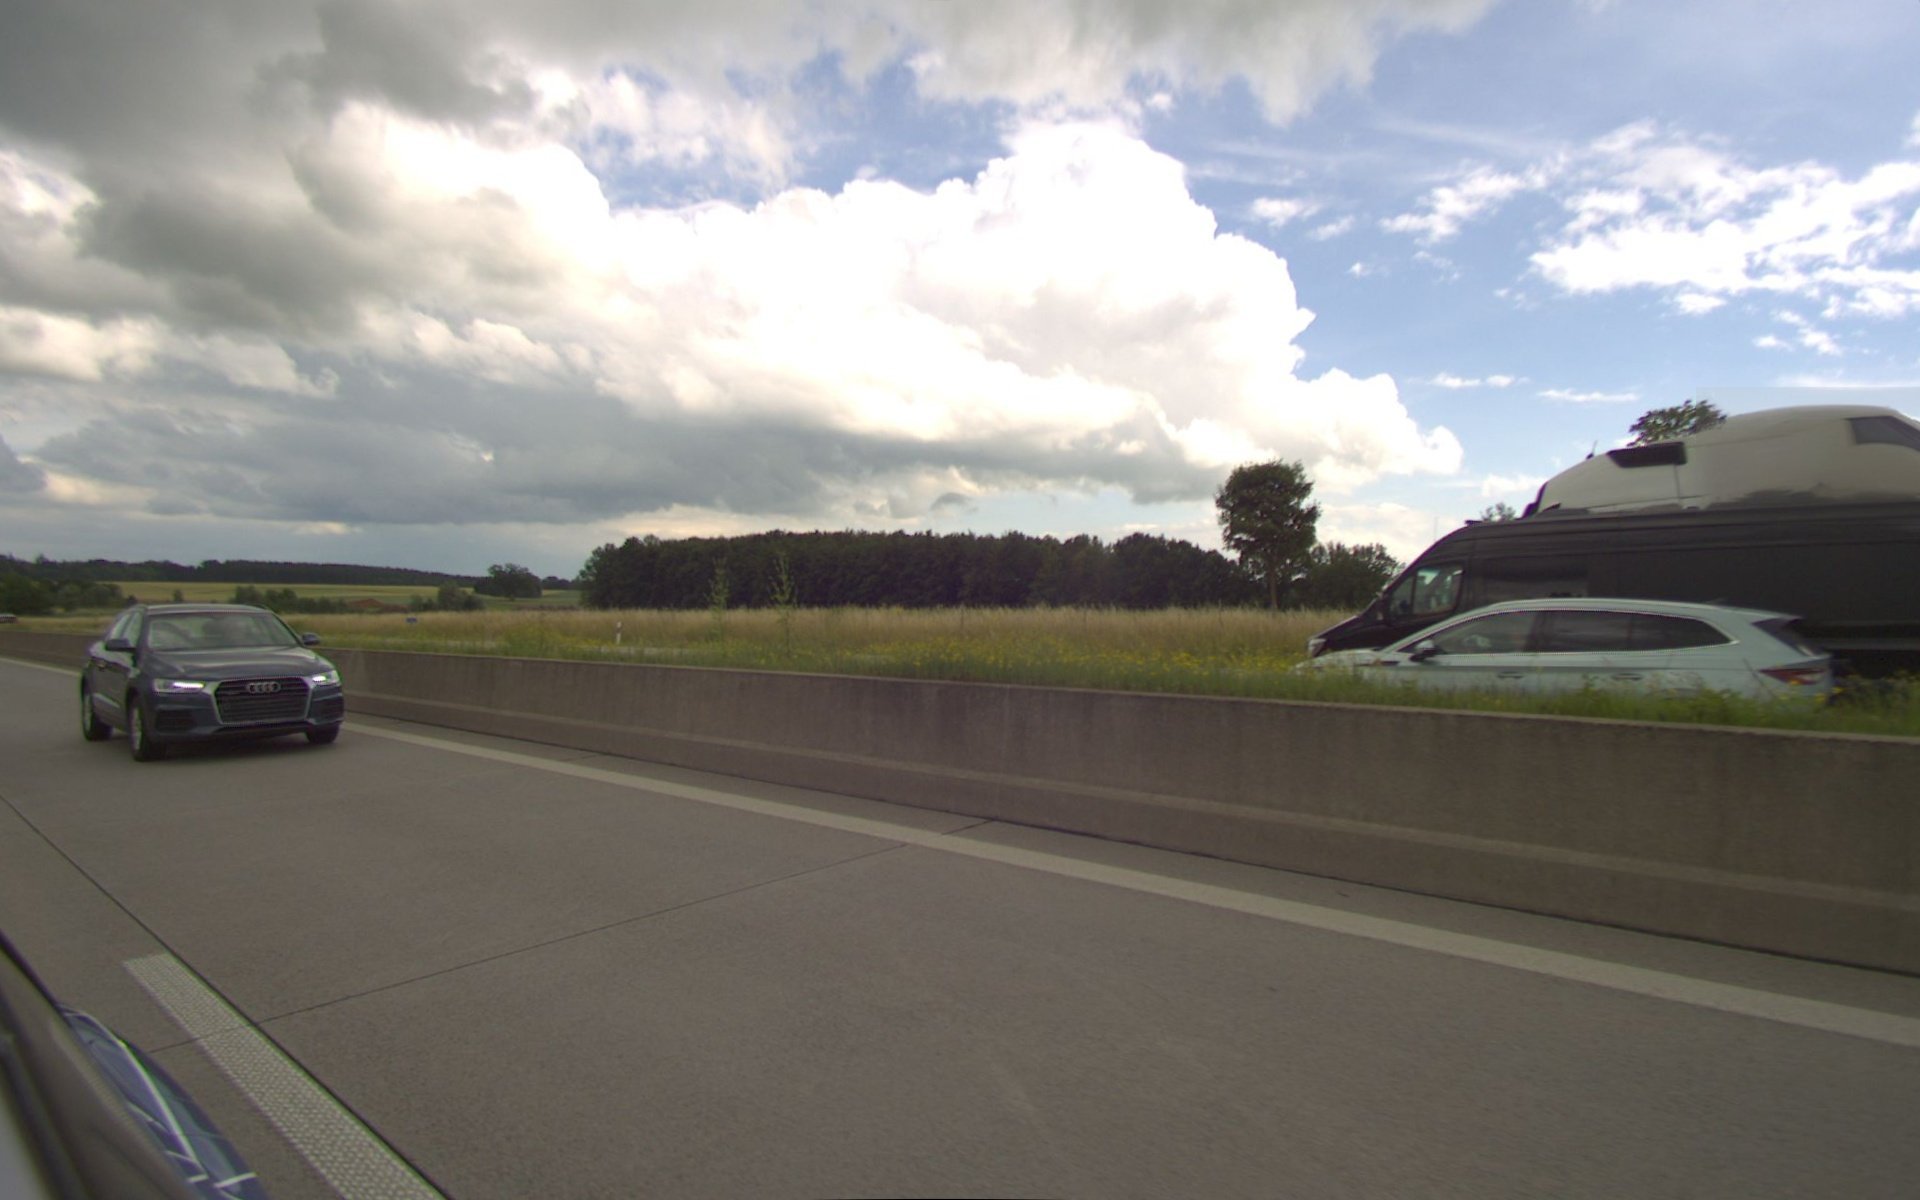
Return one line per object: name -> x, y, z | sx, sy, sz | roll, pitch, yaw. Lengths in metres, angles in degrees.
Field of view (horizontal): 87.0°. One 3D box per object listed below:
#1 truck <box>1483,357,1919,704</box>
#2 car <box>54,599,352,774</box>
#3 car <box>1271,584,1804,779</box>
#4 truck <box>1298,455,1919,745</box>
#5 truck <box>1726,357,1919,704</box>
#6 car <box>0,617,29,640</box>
truck -> 11.346, -0.868, 14.808 | 6.088, 4.287, 2.811 | 0, 0, 41
car -> -8.954, 0.832, 11.765 | 5.155, 1.608, 1.774 | -1, 0, 42
car -> 5.460, 0.660, 9.879 | 4.208, 1.493, 1.974 | -1, -1, 39
truck -> 7.950, 0.031, 12.064 | 7.121, 2.746, 2.228 | -1, 0, 41
truck -> 16.793, -0.864, 10.013 | 14.560, 4.287, 2.811 | 0, 0, 41
car -> -71.349, 2.137, 75.760 | 4.395, 1.652, 1.973 | -1, -1, 41
